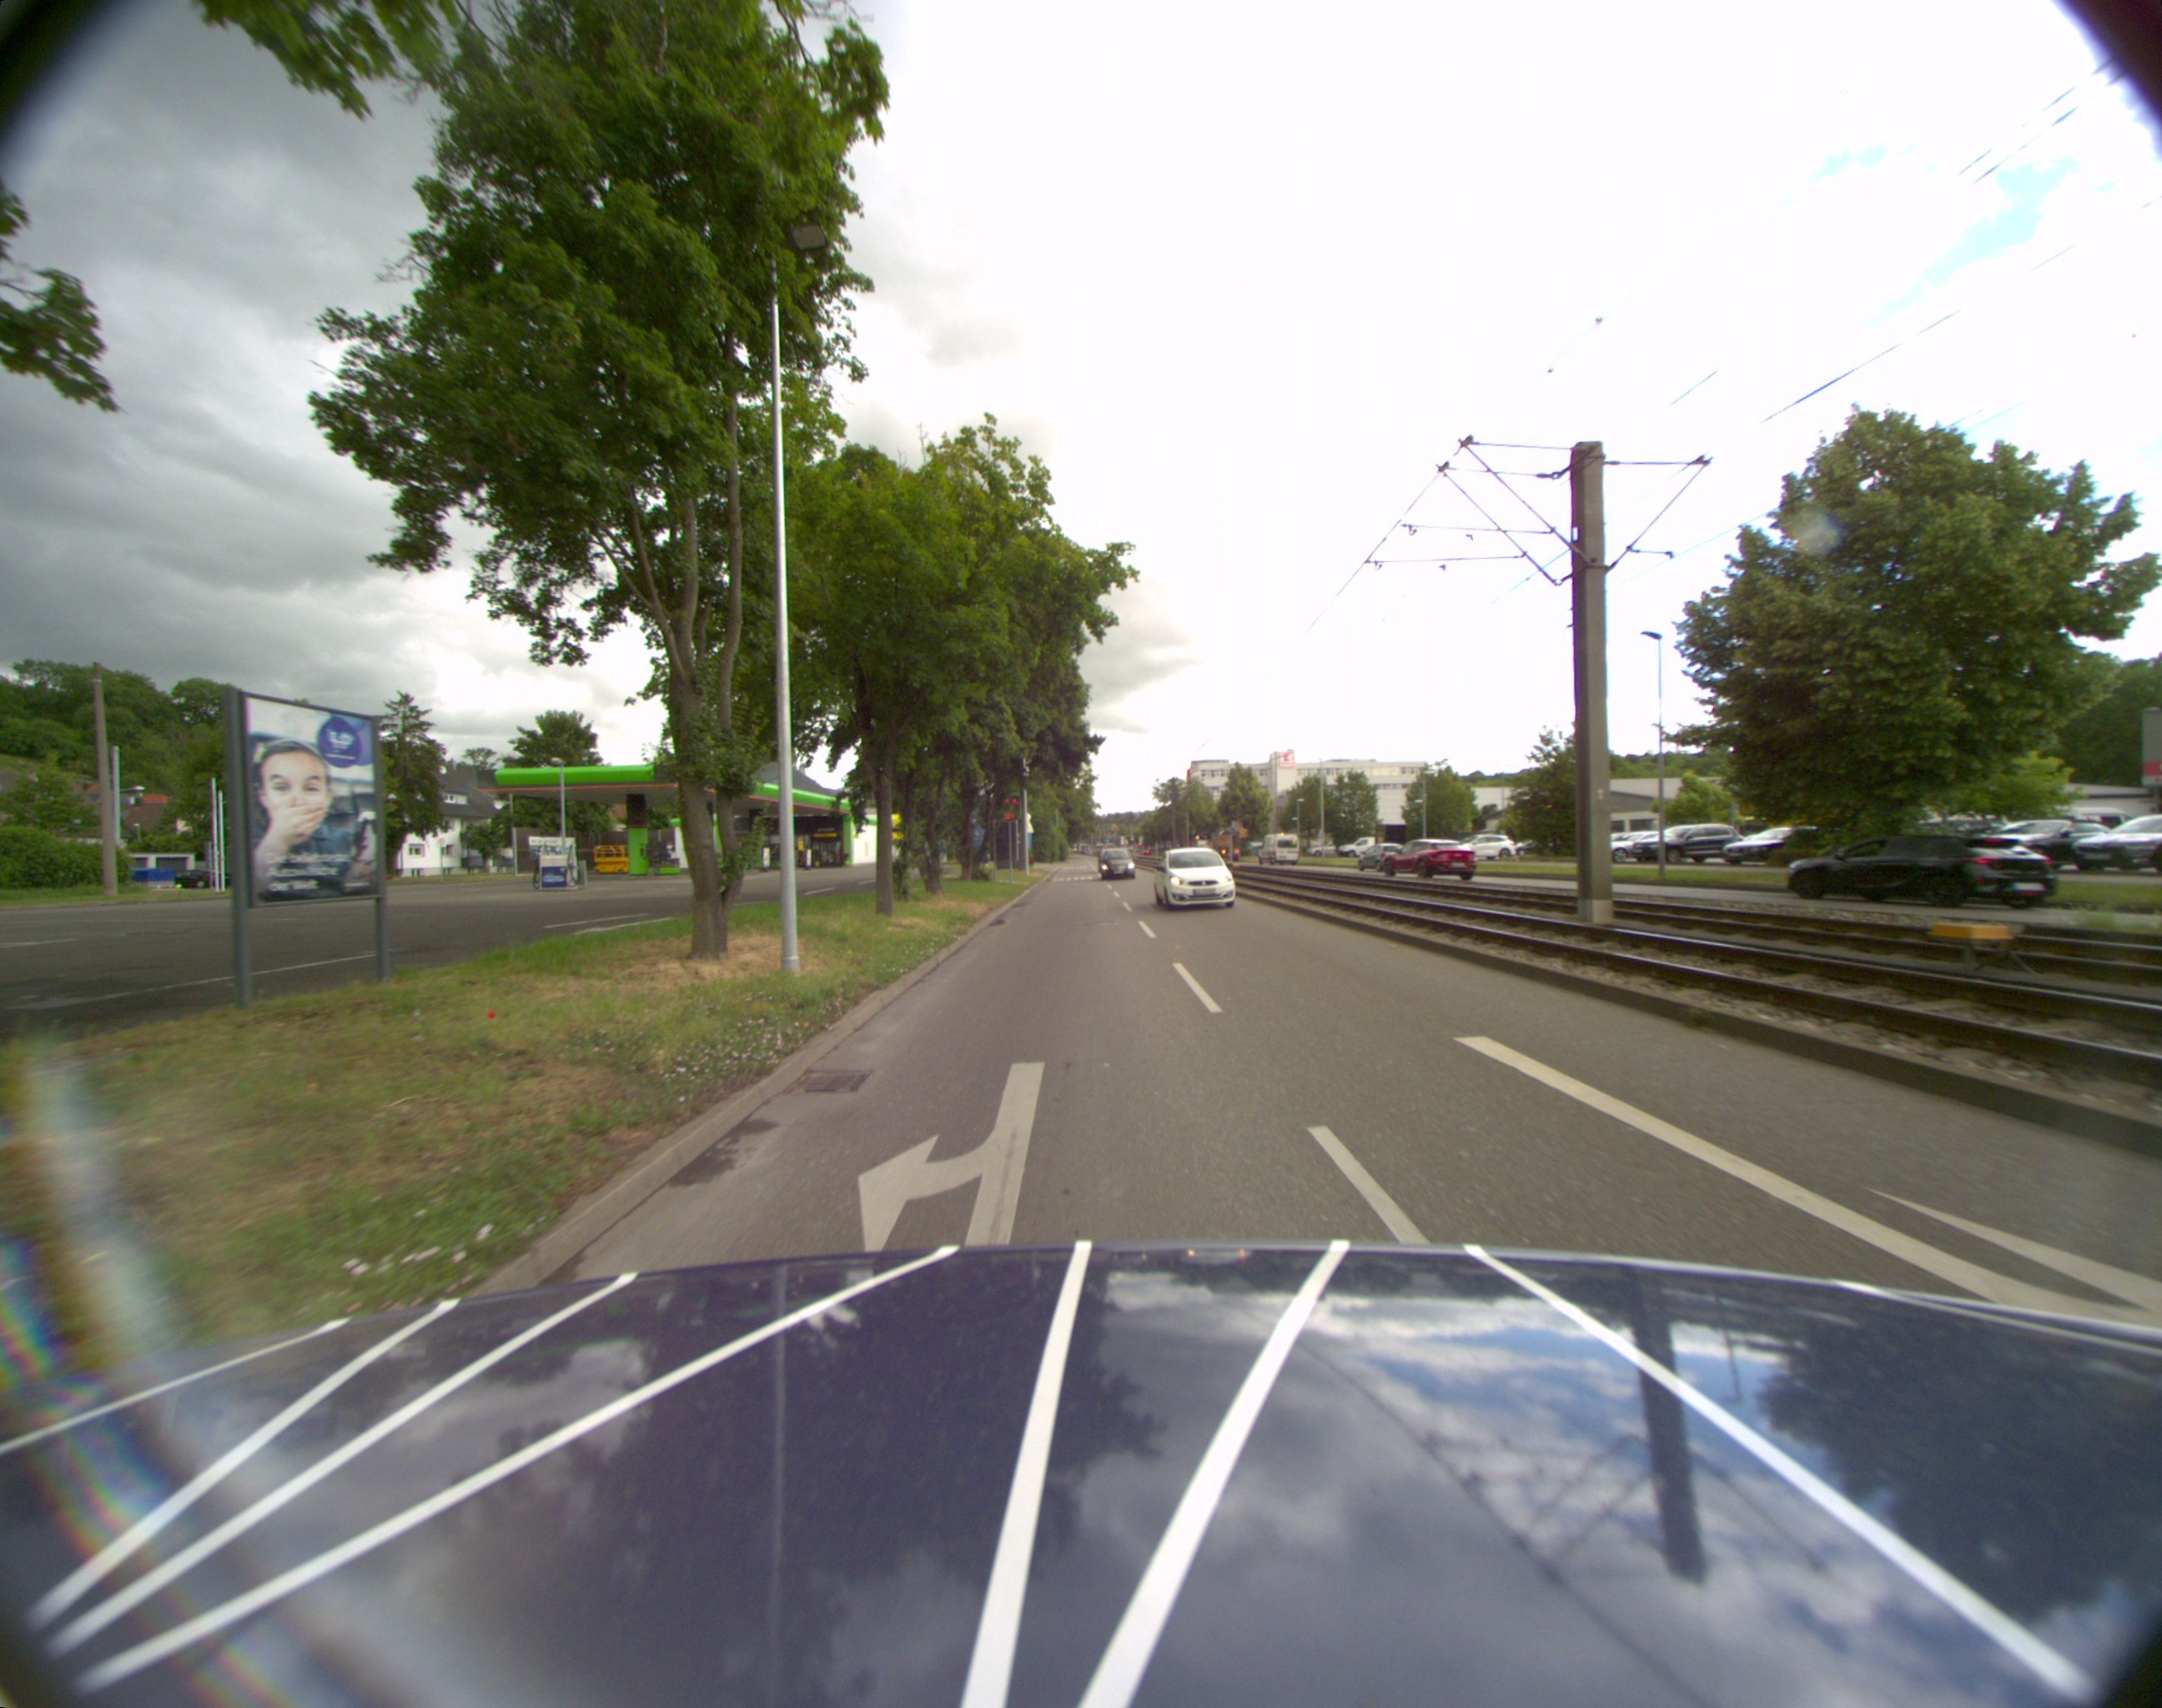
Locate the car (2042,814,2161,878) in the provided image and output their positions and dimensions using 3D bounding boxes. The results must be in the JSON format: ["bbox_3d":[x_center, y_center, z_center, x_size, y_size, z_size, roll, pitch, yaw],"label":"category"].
[{"bbox_3d":[26.865,-0.270,18.611,3.997,1.359,2.093,-4,1,-1],"label":"car"}]

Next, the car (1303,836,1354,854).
[{"bbox_3d":[25.633,-0.948,78.947,4.611,1.484,2.000,-4,1,3],"label":"car"}]

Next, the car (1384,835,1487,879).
[{"bbox_3d":[13.641,0.097,29.552,1.788,1.573,4.481,0,1,-2],"label":"car"}]

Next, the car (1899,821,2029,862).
[{"bbox_3d":[37.797,-0.535,32.586,3.738,1.638,1.701,-1,1,-2],"label":"car"}]

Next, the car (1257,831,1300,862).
[{"bbox_3d":[16.178,-0.604,62.614,1.874,2.485,5.998,0,0,-1],"label":"car"}]

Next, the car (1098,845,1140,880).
[{"bbox_3d":[1.963,0.412,40.283,1.786,1.614,3.999,-4,1,-2],"label":"car"}]

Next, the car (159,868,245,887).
[{"bbox_3d":[-65.074,1.725,56.283,3.999,1.212,1.842,-1,1,-5],"label":"car"}]

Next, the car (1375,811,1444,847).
[{"bbox_3d":[25.814,-1.969,59.811,4.481,2.733,2.288,0,1,0],"label":"car"}]

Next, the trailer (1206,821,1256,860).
[{"bbox_3d":[16.447,-1.451,84.487,2.678,3.874,14.423,0,1,0],"label":"trailer"}]

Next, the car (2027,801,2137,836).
[{"bbox_3d":[54.112,-1.889,41.113,3.738,1.613,1.723,-4,1,-2],"label":"car"}]

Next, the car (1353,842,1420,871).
[{"bbox_3d":[16.605,0.095,41.525,1.999,1.474,3.999,1,1,-1],"label":"car"}]

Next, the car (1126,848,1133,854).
[{"bbox_3d":[16.413,-1.131,257.937,1.999,2.002,3.999,-4,1,-2],"label":"car"}]

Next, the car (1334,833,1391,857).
[{"bbox_3d":[25.698,-0.850,69.434,4.355,1.908,2.000,-4,1,3],"label":"car"}]

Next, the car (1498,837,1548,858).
[{"bbox_3d":[36.960,-0.545,63.476,4.006,1.399,1.995,-4,1,-34],"label":"car"}]

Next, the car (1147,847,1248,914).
[{"bbox_3d":[2.862,0.603,19.528,1.786,1.435,3.999,-4,1,-2],"label":"car"}]

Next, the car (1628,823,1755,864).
[{"bbox_3d":[26.792,-0.451,33.433,3.997,1.498,1.937,-4,1,-1],"label":"car"}]

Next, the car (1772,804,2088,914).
[{"bbox_3d":[17.325,0.083,15.865,1.999,2.002,3.998,0,0,-4],"label":"car"}]

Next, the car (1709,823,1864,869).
[{"bbox_3d":[26.445,-0.296,28.585,3.997,1.413,1.937,-4,1,-1],"label":"car"}]

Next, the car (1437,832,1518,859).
[{"bbox_3d":[26.424,-0.551,50.690,4.482,1.498,1.795,-4,1,-3],"label":"car"}]

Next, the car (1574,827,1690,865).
[{"bbox_3d":[26.013,-0.381,36.001,3.997,1.498,2.002,-4,1,-1],"label":"car"}]

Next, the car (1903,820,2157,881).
[{"bbox_3d":[26.439,-0.097,21.314,4.385,1.346,2.195,-4,1,-1],"label":"car"}]

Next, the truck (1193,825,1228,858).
[{"bbox_3d":[16.258,-1.584,95.999,2.899,3.943,8.630,-1,0,0],"label":"truck"}]
